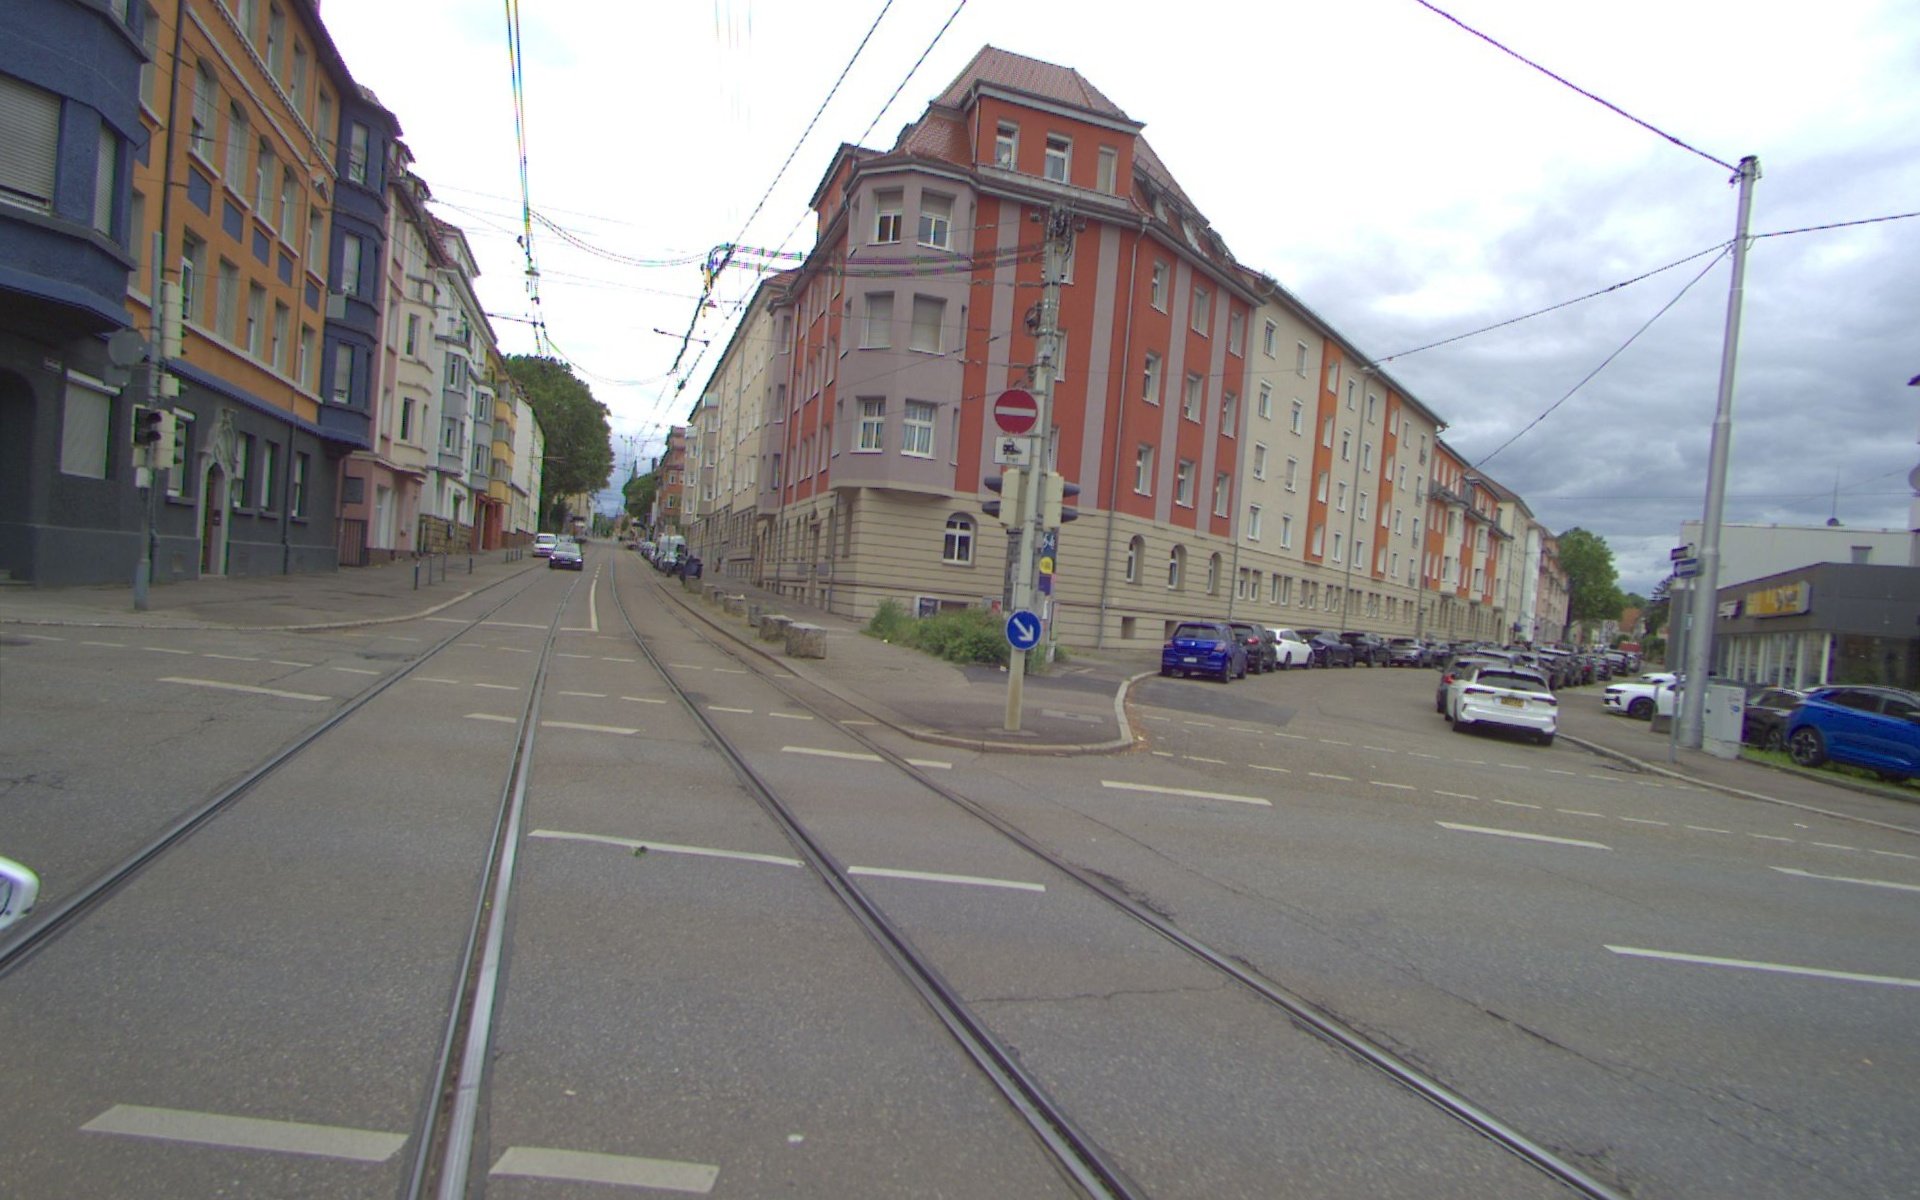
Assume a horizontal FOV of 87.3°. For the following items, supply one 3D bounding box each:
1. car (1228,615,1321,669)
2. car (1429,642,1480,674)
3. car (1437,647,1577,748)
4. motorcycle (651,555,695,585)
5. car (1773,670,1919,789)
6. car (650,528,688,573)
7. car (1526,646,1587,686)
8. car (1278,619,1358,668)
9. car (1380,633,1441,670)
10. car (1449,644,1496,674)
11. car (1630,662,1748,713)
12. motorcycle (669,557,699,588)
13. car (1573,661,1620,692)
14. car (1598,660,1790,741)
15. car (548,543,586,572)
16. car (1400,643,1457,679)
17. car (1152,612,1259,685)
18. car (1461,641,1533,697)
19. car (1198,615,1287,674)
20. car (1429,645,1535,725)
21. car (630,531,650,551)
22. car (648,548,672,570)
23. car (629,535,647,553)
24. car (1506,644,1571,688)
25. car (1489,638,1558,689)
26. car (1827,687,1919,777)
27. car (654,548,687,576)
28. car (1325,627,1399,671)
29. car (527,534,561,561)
[{"bbox_3d":[11.539,1.561,36.715,1.888,1.654,4.126,8,2,35],"label":"car"},{"bbox_3d":[30.399,3.551,61.790,1.889,1.654,4.124,9,2,37],"label":"car"},{"bbox_3d":[11.192,1.909,20.865,1.883,1.555,4.137,8,2,22],"label":"car"},{"bbox_3d":[-16.160,-1.694,56.755,2.160,1.343,0.694,8,0,-30],"label":"motorcycle"},{"bbox_3d":[16.089,2.283,16.599,1.795,1.598,4.256,8,2,3],"label":"car"},{"bbox_3d":[-21.636,-3.646,74.657,2.242,2.926,4.748,7,0,-19],"label":"car"},{"bbox_3d":[28.754,3.177,48.448,1.889,1.555,4.123,9,2,38],"label":"car"},{"bbox_3d":[14.658,1.813,41.079,1.888,1.654,4.126,8,2,35],"label":"car"},{"bbox_3d":[23.716,2.721,52.901,1.889,1.654,4.124,9,2,37],"label":"car"},{"bbox_3d":[33.780,3.882,66.207,1.889,1.654,4.124,9,2,37],"label":"car"},{"bbox_3d":[31.324,3.721,43.273,3.838,1.555,1.711,9,3,40],"label":"car"},{"bbox_3d":[-12.849,-1.280,46.797,0.851,1.345,2.167,-1,4,-28],"label":"motorcycle"},{"bbox_3d":[38.902,4.638,61.423,1.889,1.555,4.123,9,2,38],"label":"car"},{"bbox_3d":[20.654,2.780,28.544,4.048,1.555,1.790,8,2,30],"label":"car"},{"bbox_3d":[-21.995,-2.374,56.379,1.667,1.343,3.646,7,0,-19],"label":"car"},{"bbox_3d":[26.417,3.442,56.677,1.889,1.654,4.124,9,2,37],"label":"car"},{"bbox_3d":[6.678,1.265,27.046,1.884,1.555,4.135,8,2,25],"label":"car"},{"bbox_3d":[18.779,2.356,35.100,1.886,1.555,4.131,8,2,30],"label":"car"},{"bbox_3d":[9.139,1.405,32.318,1.884,1.555,4.135,8,2,26],"label":"car"},{"bbox_3d":[13.204,2.074,25.690,1.883,1.555,4.136,8,2,23],"label":"car"},{"bbox_3d":[-41.985,-7.734,131.930,2.242,2.210,4.748,7,0,-19],"label":"car"},{"bbox_3d":[-25.859,-3.528,86.581,1.676,1.575,3.628,7,0,-19],"label":"car"},{"bbox_3d":[-46.512,-8.024,145.295,2.242,2.210,4.748,7,0,-19],"label":"car"},{"bbox_3d":[25.085,2.840,43.572,1.888,1.555,4.126,8,2,35],"label":"car"},{"bbox_3d":[22.341,2.497,39.816,1.888,1.667,4.127,8,2,34],"label":"car"},{"bbox_3d":[19.825,2.795,20.208,1.827,1.570,4.000,7,1,13],"label":"car"},{"bbox_3d":[-19.951,-2.608,69.201,1.820,1.588,3.802,7,0,-19],"label":"car"},{"bbox_3d":[18.266,2.244,45.615,1.890,1.654,4.123,9,2,38],"label":"car"},{"bbox_3d":[-31.820,-3.987,77.100,1.972,1.713,3.982,7,0,-19],"label":"car"}]
